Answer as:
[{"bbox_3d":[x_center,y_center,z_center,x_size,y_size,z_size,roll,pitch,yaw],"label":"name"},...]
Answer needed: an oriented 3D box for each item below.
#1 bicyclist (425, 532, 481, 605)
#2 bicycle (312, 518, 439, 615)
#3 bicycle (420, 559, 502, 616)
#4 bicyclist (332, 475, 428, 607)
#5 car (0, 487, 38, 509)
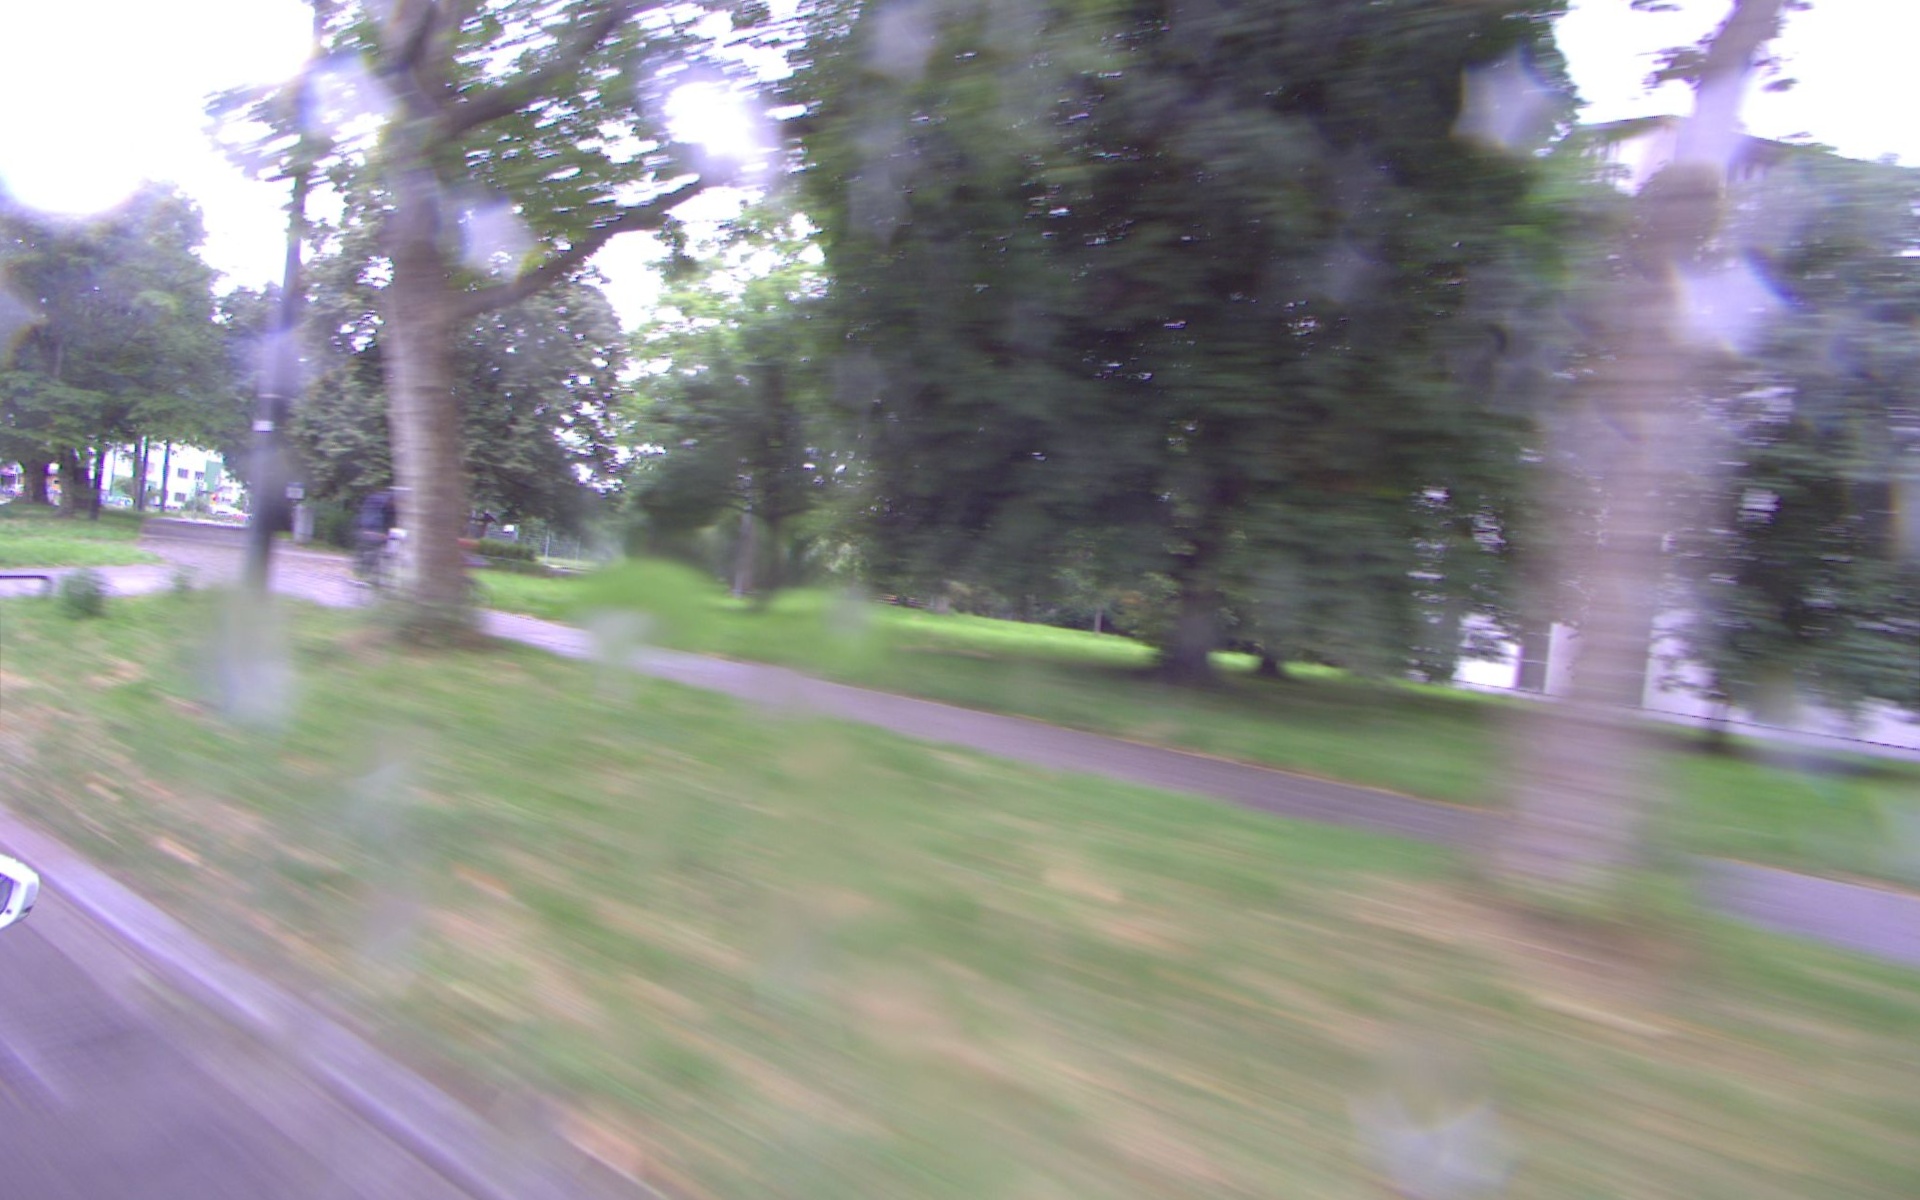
[{"bbox_3d":[-7.856,-0.490,15.593,0.582,1.051,0.486,7,1,37],"label":"bicyclist"},{"bbox_3d":[-8.401,-0.489,14.430,1.940,1.157,0.711,8,2,34],"label":"bicycle"},{"bbox_3d":[-7.673,-0.197,15.445,1.435,0.717,0.486,6,1,37],"label":"bicycle"},{"bbox_3d":[-8.280,-0.839,14.372,0.942,1.743,0.711,8,2,34],"label":"bicyclist"},{"bbox_3d":[-78.769,-8.509,83.472,3.743,1.438,1.689,7,1,18],"label":"car"}]
